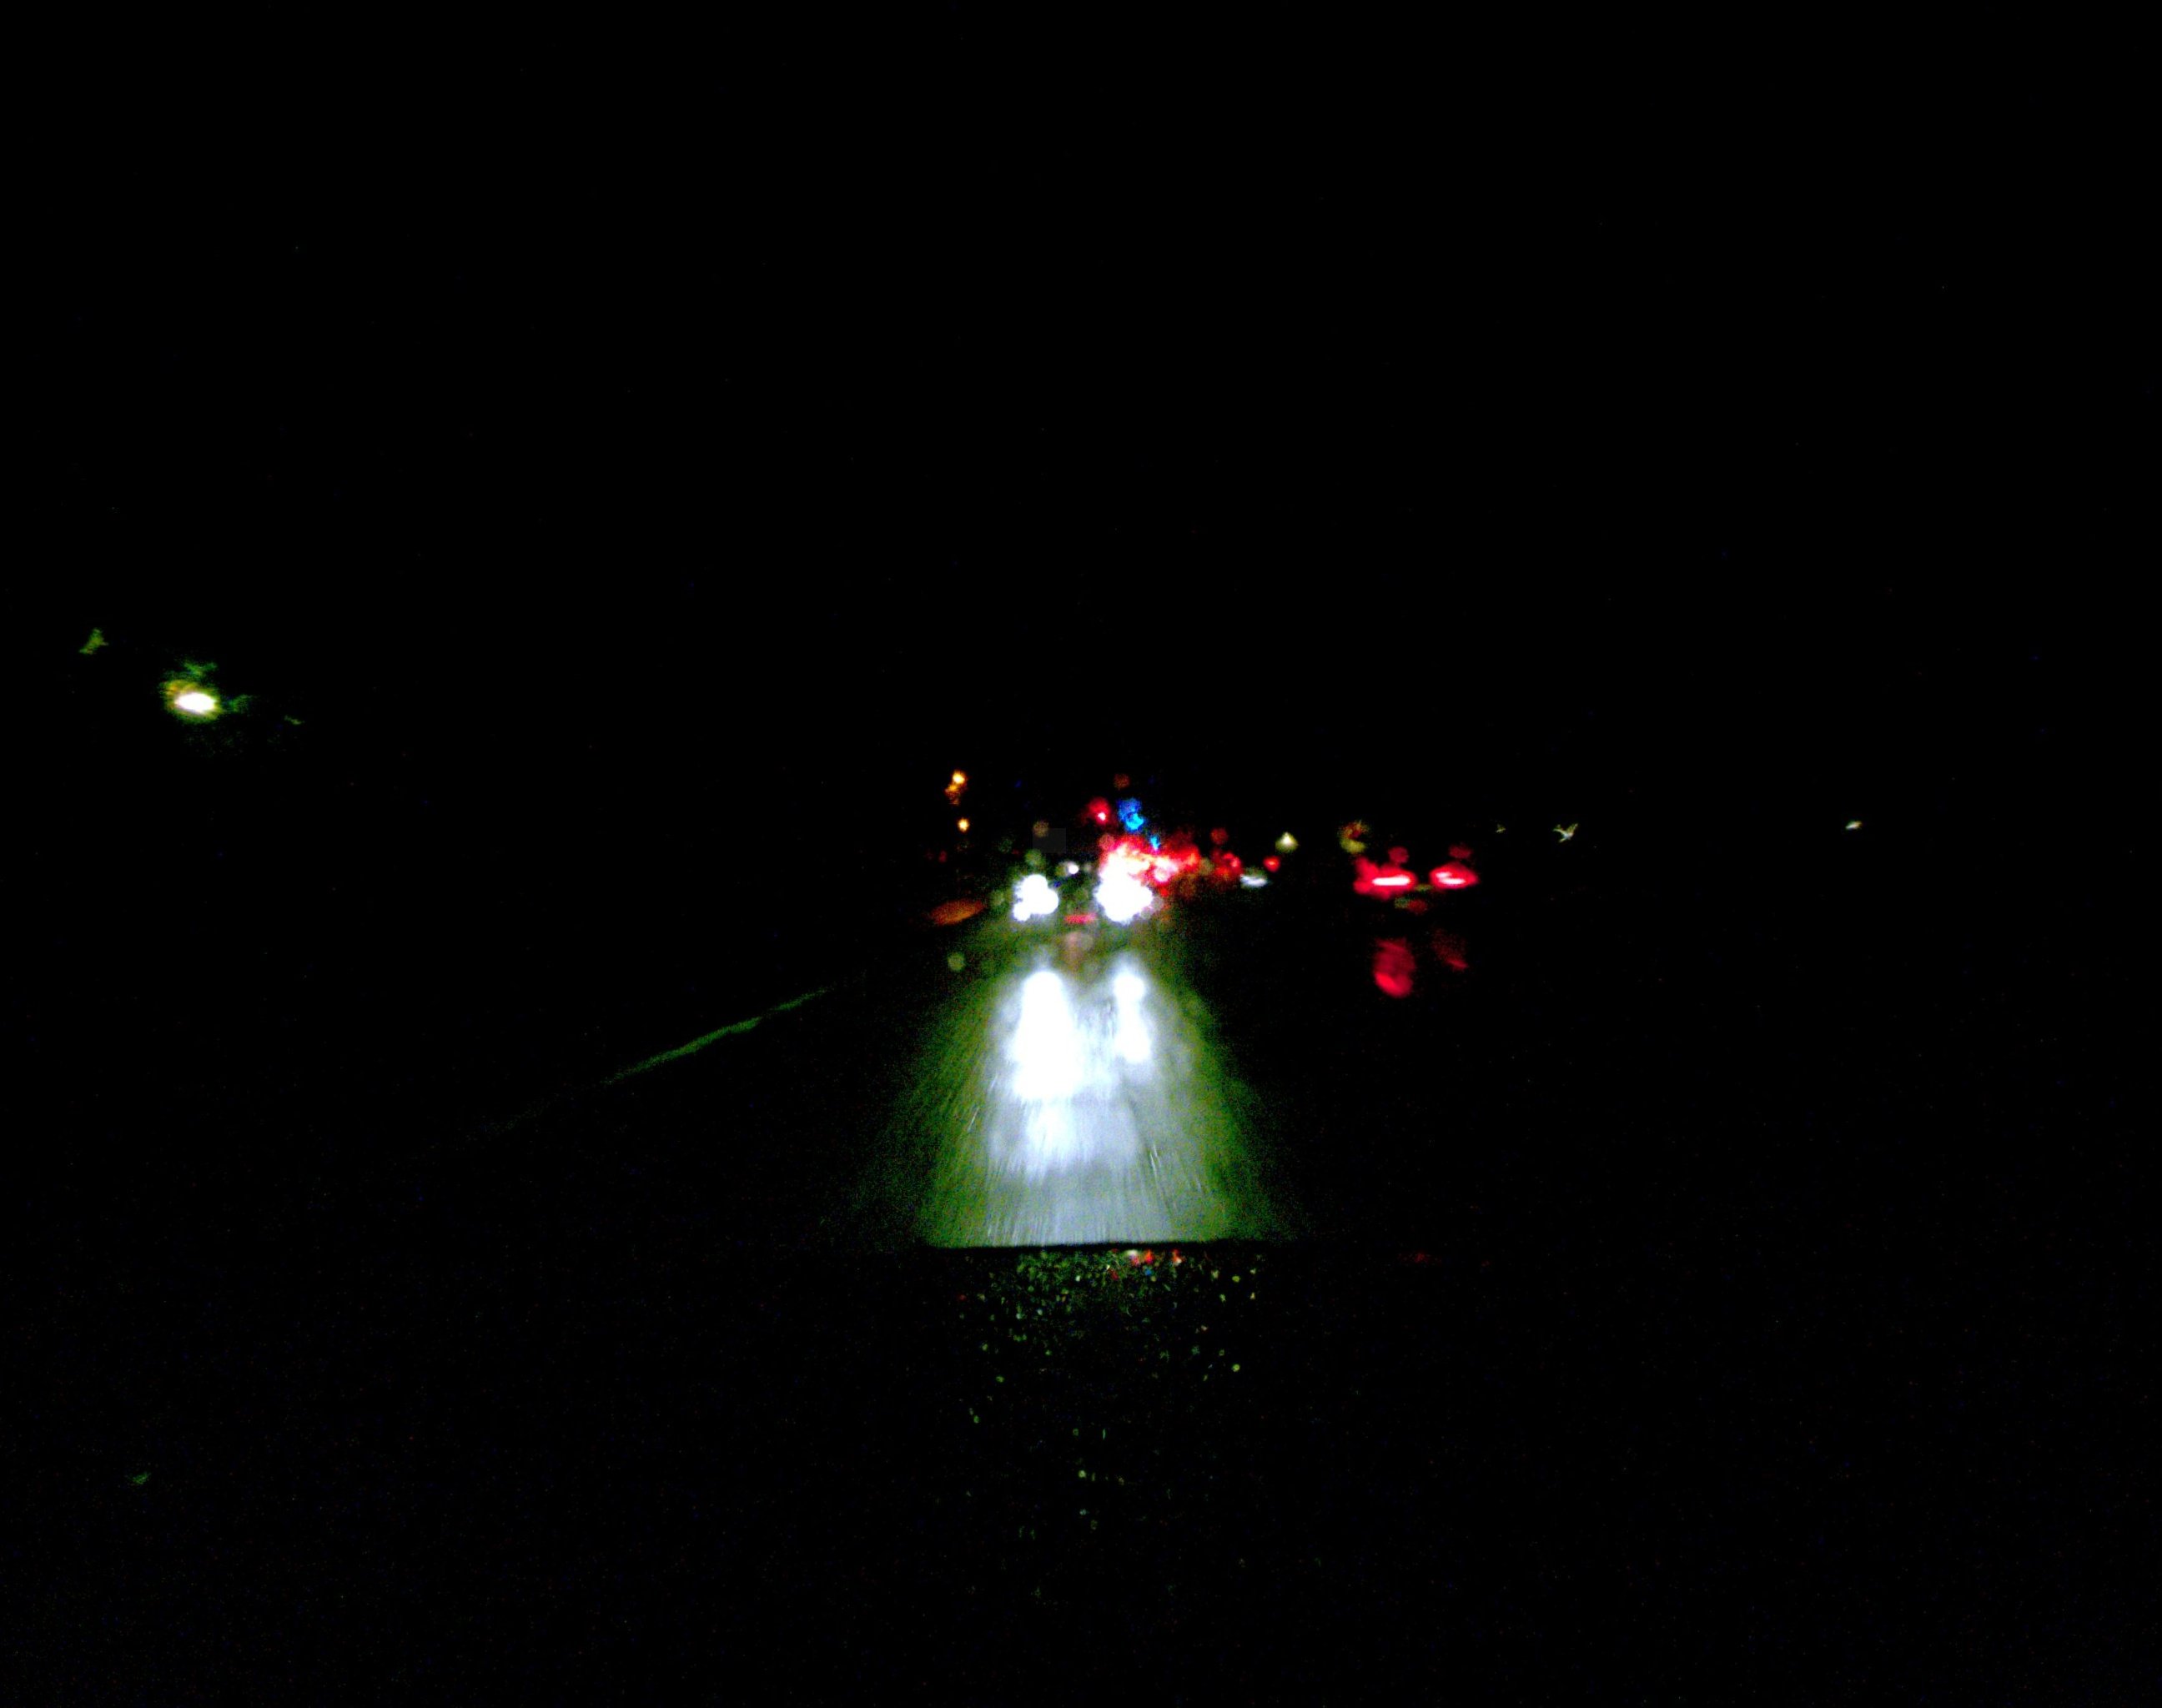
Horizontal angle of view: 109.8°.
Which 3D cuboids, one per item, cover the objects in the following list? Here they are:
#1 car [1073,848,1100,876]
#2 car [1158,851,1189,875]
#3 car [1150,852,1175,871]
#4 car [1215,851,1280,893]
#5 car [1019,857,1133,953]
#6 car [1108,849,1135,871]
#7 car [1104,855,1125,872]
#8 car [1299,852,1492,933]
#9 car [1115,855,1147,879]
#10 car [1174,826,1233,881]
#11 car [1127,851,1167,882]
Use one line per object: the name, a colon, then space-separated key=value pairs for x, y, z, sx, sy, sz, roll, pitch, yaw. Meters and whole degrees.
car: x=0.401 y=0.507 z=53.427 sx=1.759 sy=1.807 sz=4.710 roll=-2 pitch=0 yaw=1
car: x=6.641 y=0.631 z=54.863 sx=1.724 sy=1.579 sz=4.312 roll=-2 pitch=0 yaw=0
car: x=6.846 y=0.620 z=64.072 sx=1.724 sy=1.499 sz=3.827 roll=-2 pitch=0 yaw=1
car: x=6.657 y=0.681 z=30.761 sx=1.883 sy=1.528 sz=3.988 roll=-2 pitch=0 yaw=2
car: x=0.072 y=0.875 z=15.301 sx=1.809 sy=1.590 sz=4.788 roll=-1 pitch=0 yaw=5
car: x=3.241 y=0.497 z=61.147 sx=1.849 sy=1.659 sz=4.445 roll=-2 pitch=0 yaw=0
car: x=3.046 y=0.884 z=69.339 sx=1.626 sy=1.464 sz=3.884 roll=-2 pitch=0 yaw=-2
car: x=6.577 y=0.712 z=16.642 sx=2.082 sy=1.441 sz=4.991 roll=-2 pitch=0 yaw=-1
car: x=3.384 y=0.849 z=52.113 sx=1.848 sy=1.565 sz=4.596 roll=-2 pitch=0 yaw=0
car: x=6.539 y=-0.034 z=41.285 sx=2.128 sy=2.692 sz=6.240 roll=-2 pitch=0 yaw=0
car: x=3.758 y=0.676 z=43.951 sx=1.810 sy=1.620 sz=4.415 roll=-2 pitch=0 yaw=-1
